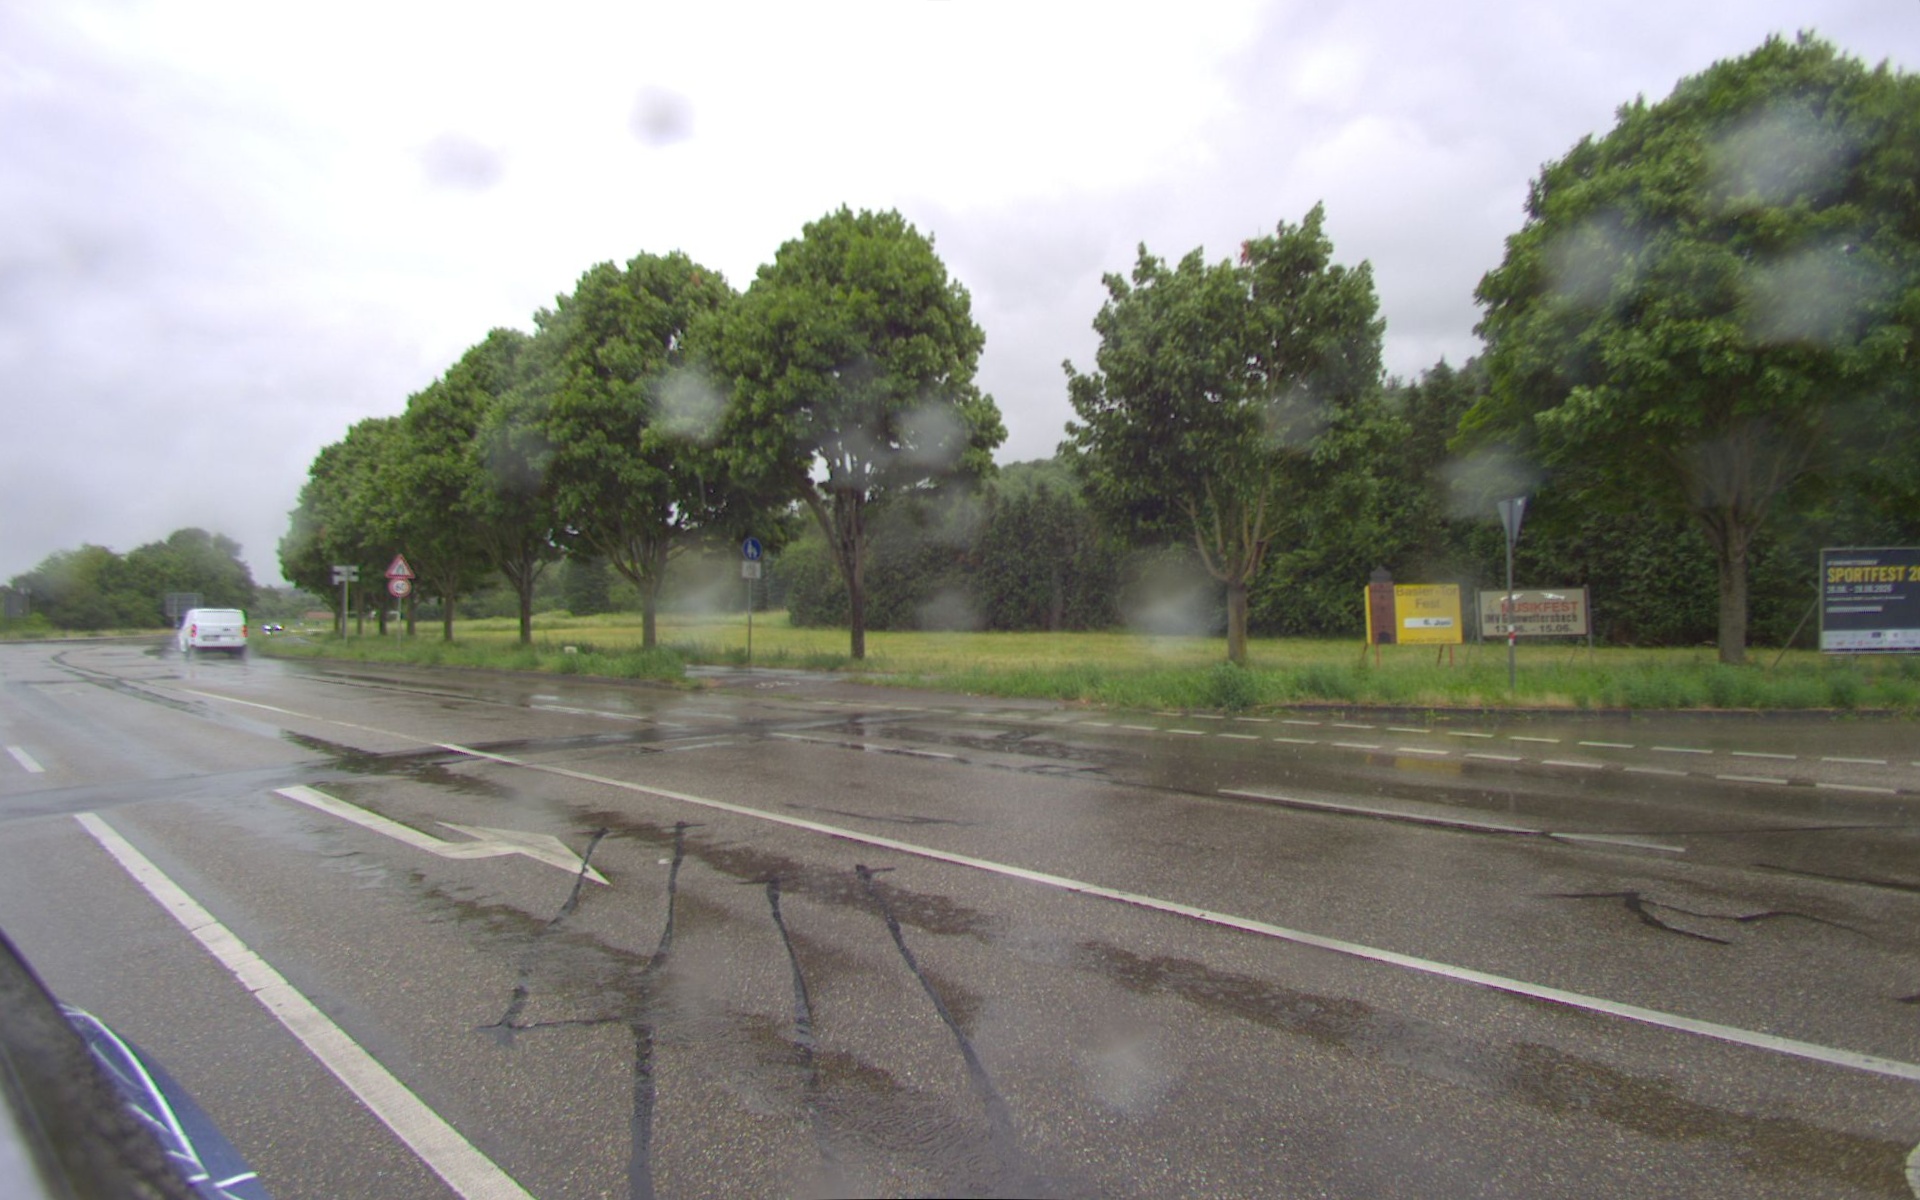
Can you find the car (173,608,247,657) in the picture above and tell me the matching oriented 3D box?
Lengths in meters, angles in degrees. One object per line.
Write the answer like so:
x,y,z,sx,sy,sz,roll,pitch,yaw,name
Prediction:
-30.970,1.309,41.734,2.080,1.907,4.797,0,-1,-41,car
